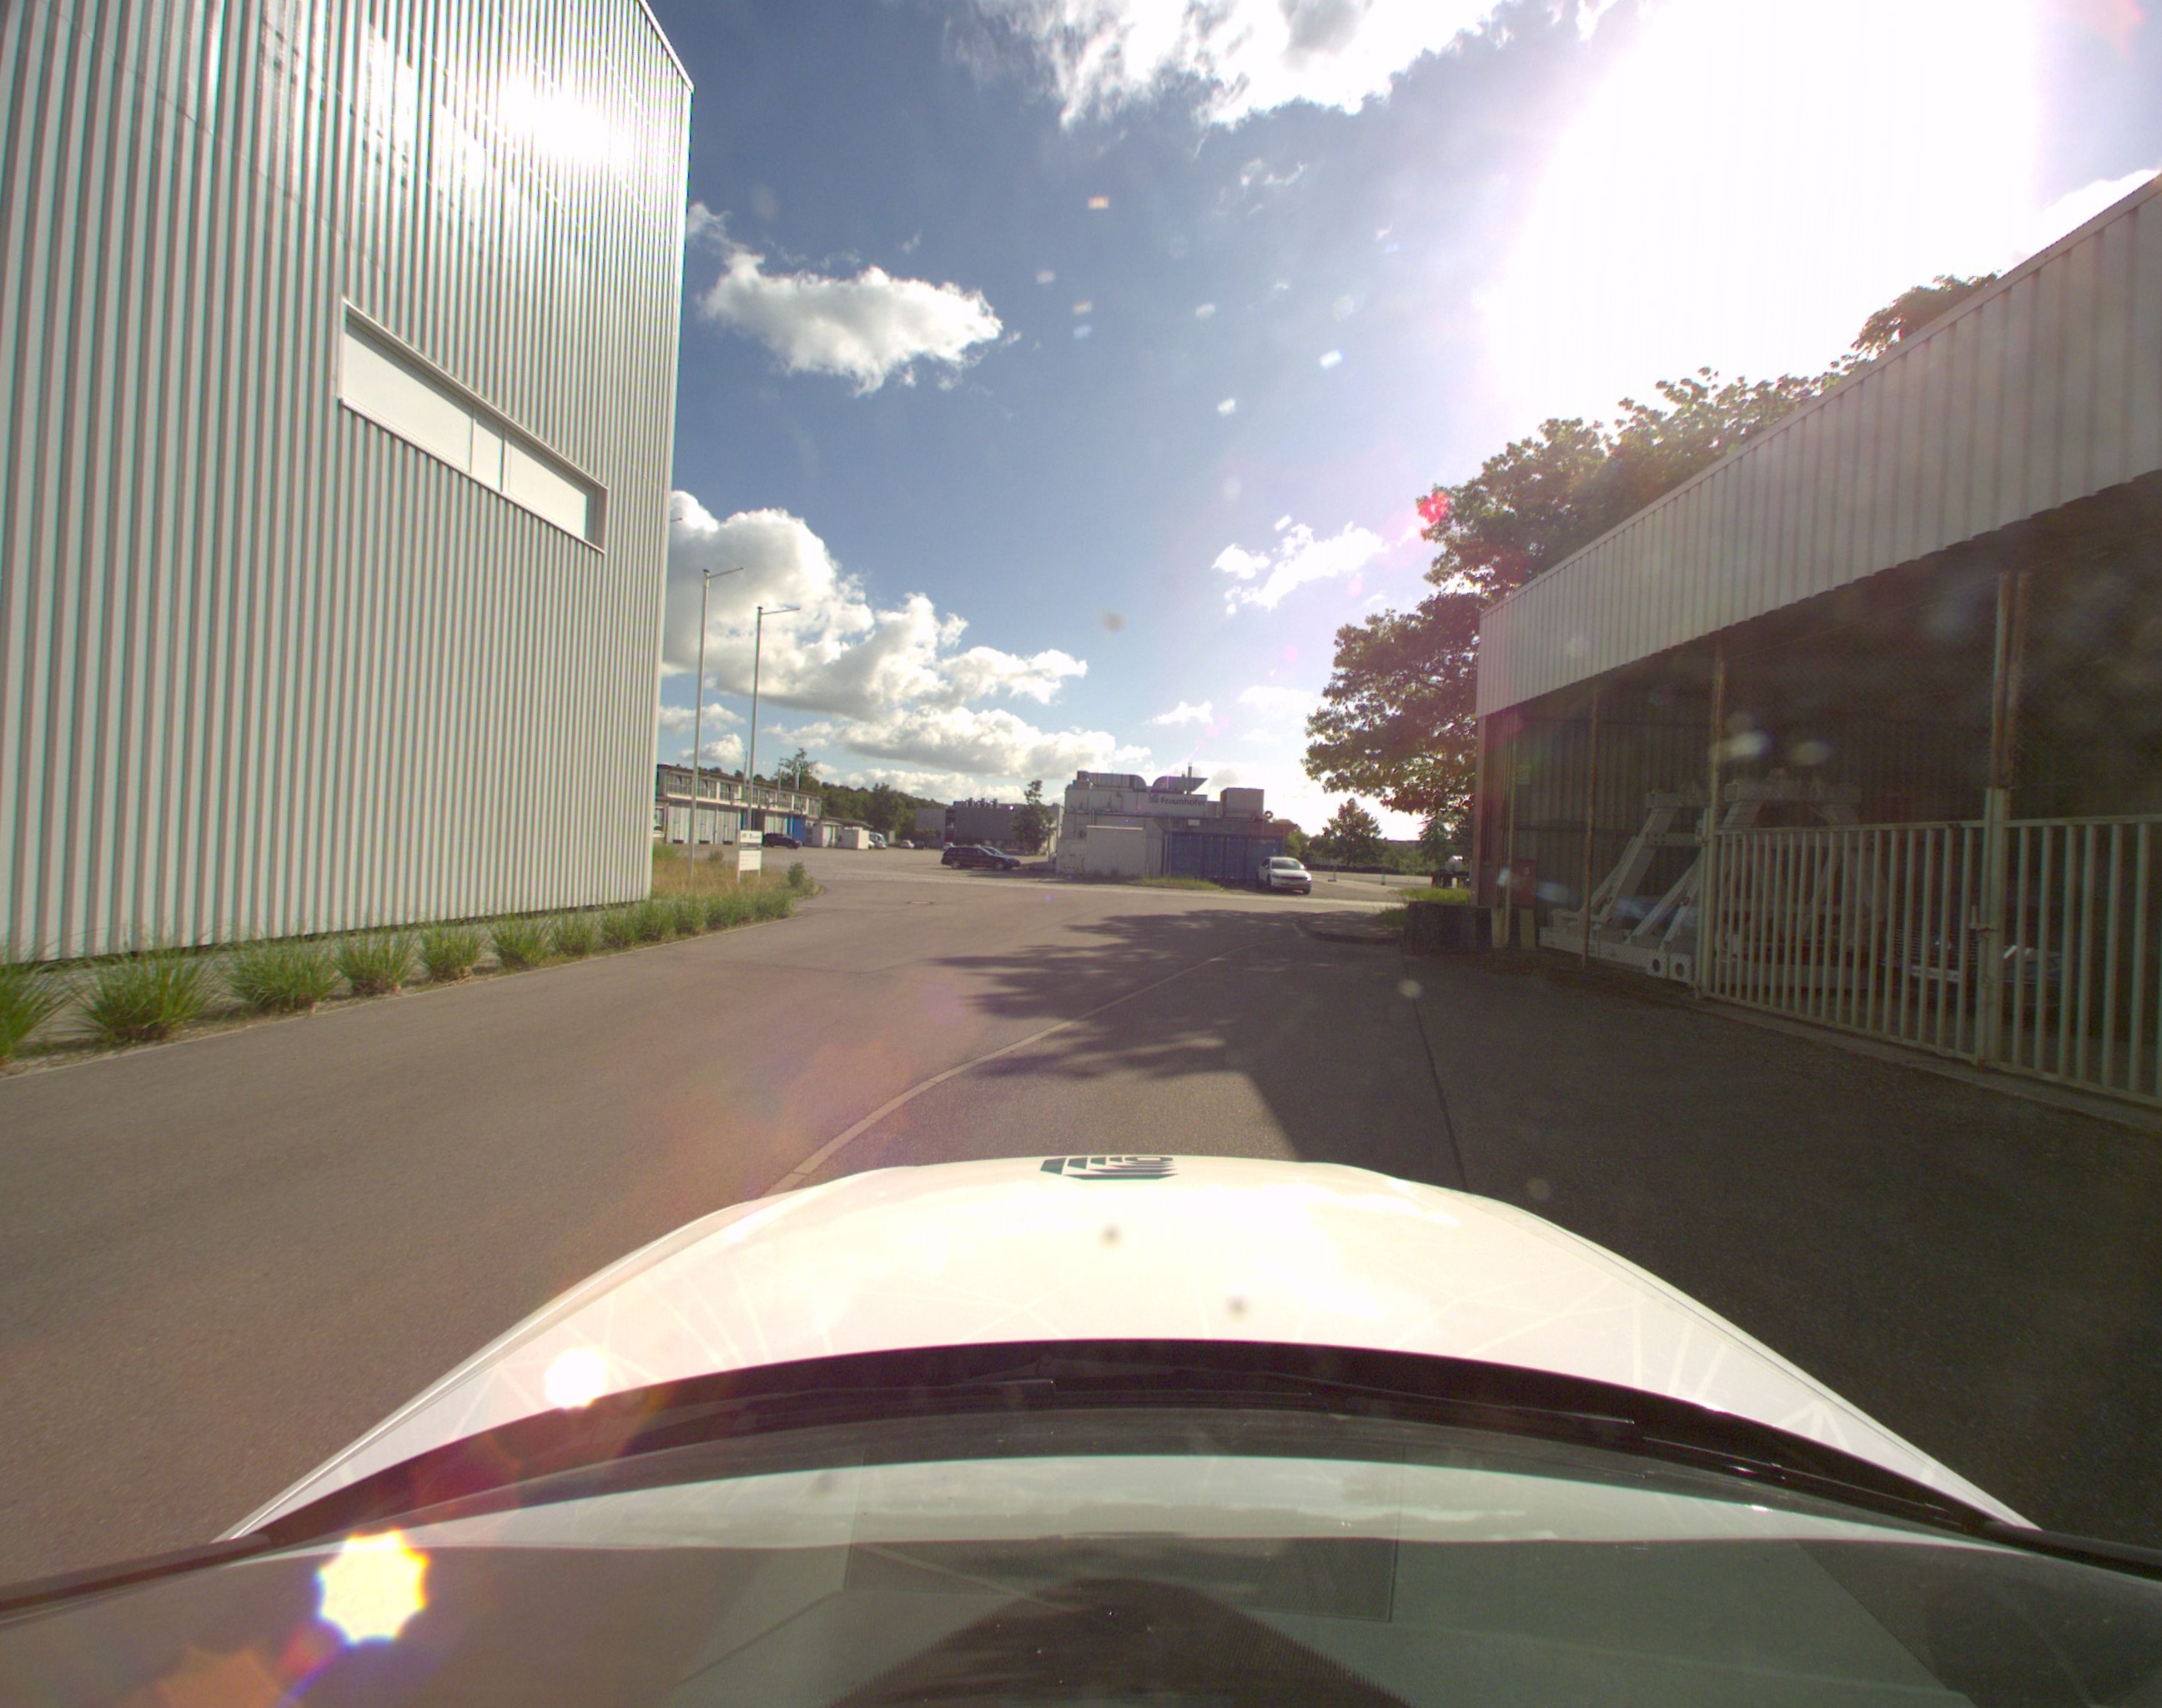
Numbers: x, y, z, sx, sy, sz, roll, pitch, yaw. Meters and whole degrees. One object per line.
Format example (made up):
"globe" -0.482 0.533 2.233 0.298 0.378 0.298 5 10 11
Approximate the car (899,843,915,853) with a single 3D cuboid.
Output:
"car" -31.875 -1.095 149.083 1.986 1.736 4.001 1 0 2

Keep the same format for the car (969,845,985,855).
"car" -18.989 -0.754 149.163 2.185 1.736 4.001 1 0 2

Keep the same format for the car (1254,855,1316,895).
"car" 9.554 0.940 38.447 1.986 1.585 4.175 2 2 2

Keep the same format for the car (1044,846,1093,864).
"car" -1.177 0.074 79.074 4.507 1.508 1.910 2 0 3

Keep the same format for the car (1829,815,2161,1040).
"car" 10.815 0.691 8.035 5.226 1.876 1.998 2 0 -4

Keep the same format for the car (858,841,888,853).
"car" -31.303 -1.085 122.579 3.973 1.610 2.000 2 0 0

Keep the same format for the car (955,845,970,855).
"car" -21.579 -0.755 148.890 1.986 1.736 4.001 1 0 2

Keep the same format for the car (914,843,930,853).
"car" -29.082 -1.062 148.951 1.986 1.736 4.001 1 0 2

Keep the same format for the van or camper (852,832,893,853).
"van or camper" -32.201 -1.774 125.869 5.696 2.928 2.473 2 0 0

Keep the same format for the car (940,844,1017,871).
"car" -6.476 0.207 51.597 4.506 1.508 1.911 2 0 4

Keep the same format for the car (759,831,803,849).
"car" -32.780 -1.472 89.043 3.978 1.786 1.998 2 0 -4

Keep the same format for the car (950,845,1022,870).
"car" -6.374 0.223 54.834 4.506 1.508 1.911 2 0 4

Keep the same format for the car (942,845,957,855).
"car" -24.051 -0.783 149.310 1.986 1.736 4.001 1 0 2
